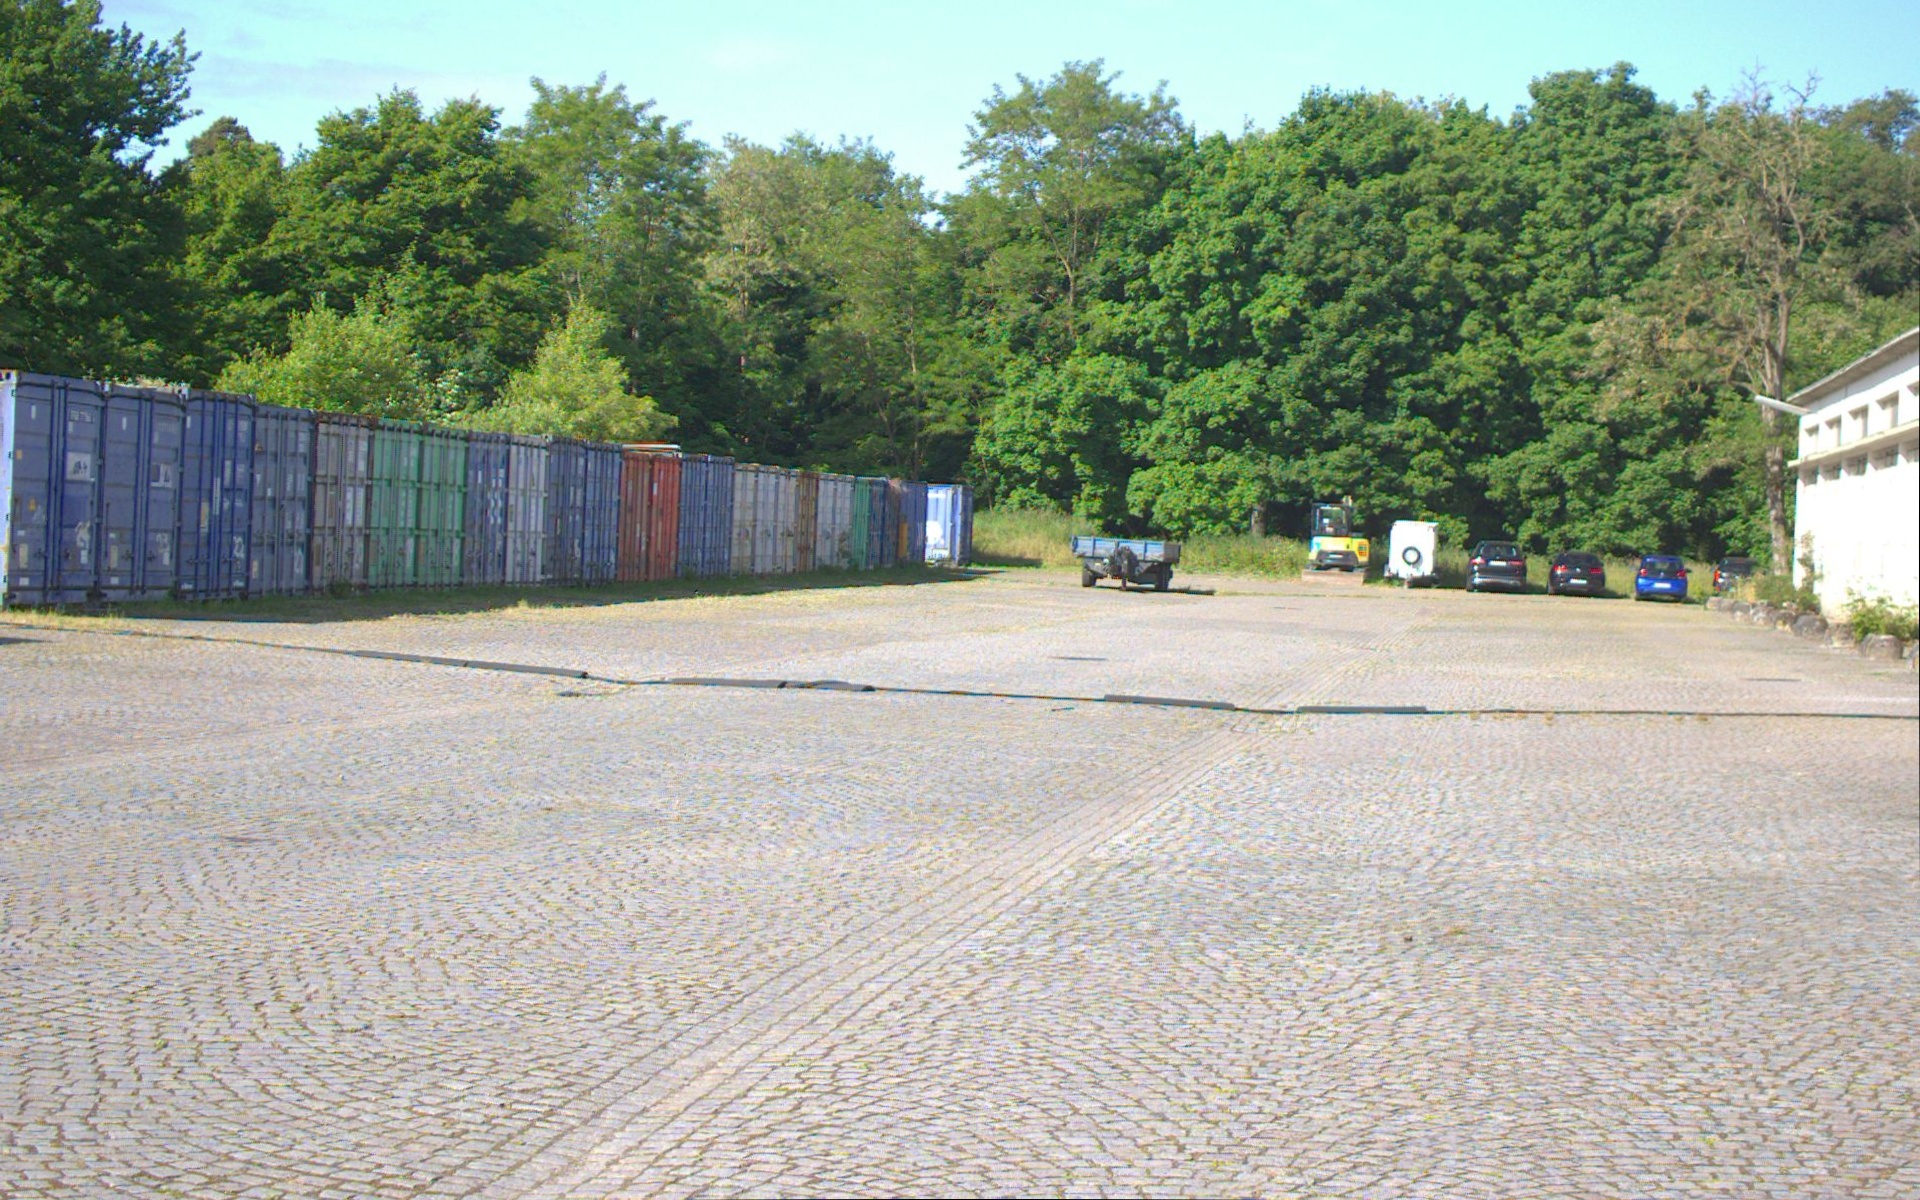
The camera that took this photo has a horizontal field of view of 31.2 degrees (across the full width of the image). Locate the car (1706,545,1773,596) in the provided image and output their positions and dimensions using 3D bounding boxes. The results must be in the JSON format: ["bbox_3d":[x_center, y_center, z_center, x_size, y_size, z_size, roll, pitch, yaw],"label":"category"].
[{"bbox_3d":[24.913,-0.960,109.838,1.745,1.431,4.180,4,3,16],"label":"car"}]

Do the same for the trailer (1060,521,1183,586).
[{"bbox_3d":[4.447,-1.291,93.604,2.706,1.460,6.246,4,3,8],"label":"trailer"}]

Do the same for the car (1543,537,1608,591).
[{"bbox_3d":[19.553,-1.170,109.379,1.864,1.465,4.294,4,3,9],"label":"car"}]

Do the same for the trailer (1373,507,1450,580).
[{"bbox_3d":[14.770,-1.882,112.217,2.194,2.087,5.749,4,3,9],"label":"trailer"}]

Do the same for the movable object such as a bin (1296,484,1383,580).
[{"bbox_3d":[12.528,-2.280,113.194,2.307,2.886,5.749,4,3,10],"label":"movable object such as a bin"}]

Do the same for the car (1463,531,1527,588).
[{"bbox_3d":[17.041,-1.309,109.431,1.864,1.583,4.294,4,3,9],"label":"car"}]

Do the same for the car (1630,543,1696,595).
[{"bbox_3d":[22.269,-0.990,108.859,1.745,1.431,4.180,4,3,14],"label":"car"}]
